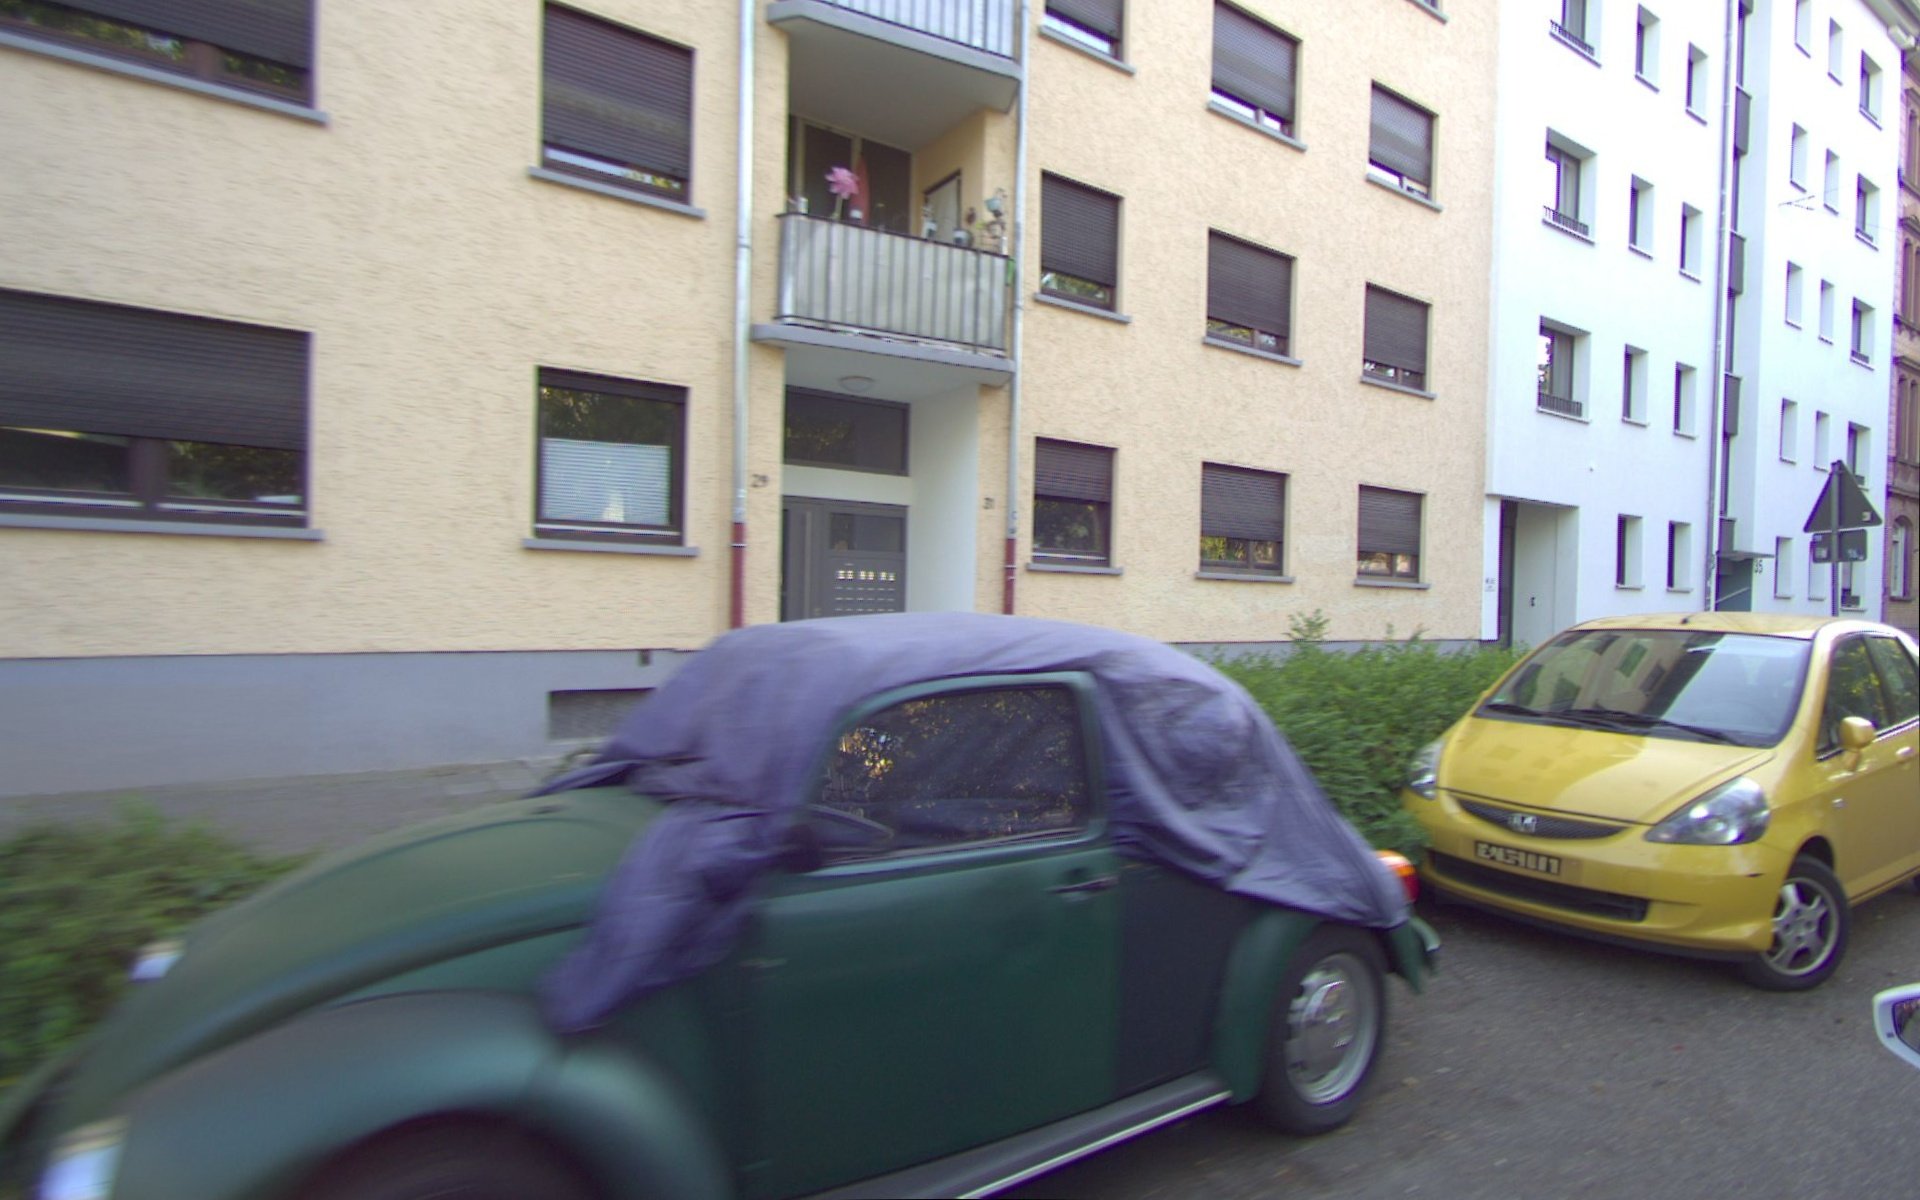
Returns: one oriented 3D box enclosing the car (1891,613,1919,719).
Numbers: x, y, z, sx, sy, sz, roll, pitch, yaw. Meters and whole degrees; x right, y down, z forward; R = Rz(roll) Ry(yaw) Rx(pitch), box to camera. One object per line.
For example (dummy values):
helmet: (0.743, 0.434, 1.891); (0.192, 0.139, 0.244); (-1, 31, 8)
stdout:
car: (16.065, 1.058, 15.400); (3.958, 1.528, 1.658); (1, 3, -34)

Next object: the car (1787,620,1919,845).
car: (8.204, 0.934, 7.696); (3.956, 1.499, 1.730); (1, -1, -32)

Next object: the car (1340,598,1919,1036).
car: (3.913, 0.810, 5.324); (3.734, 1.545, 1.692); (2, 0, -34)

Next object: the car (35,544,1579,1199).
car: (0.008, 0.732, 2.942); (3.740, 1.538, 1.558); (1, 0, -32)
